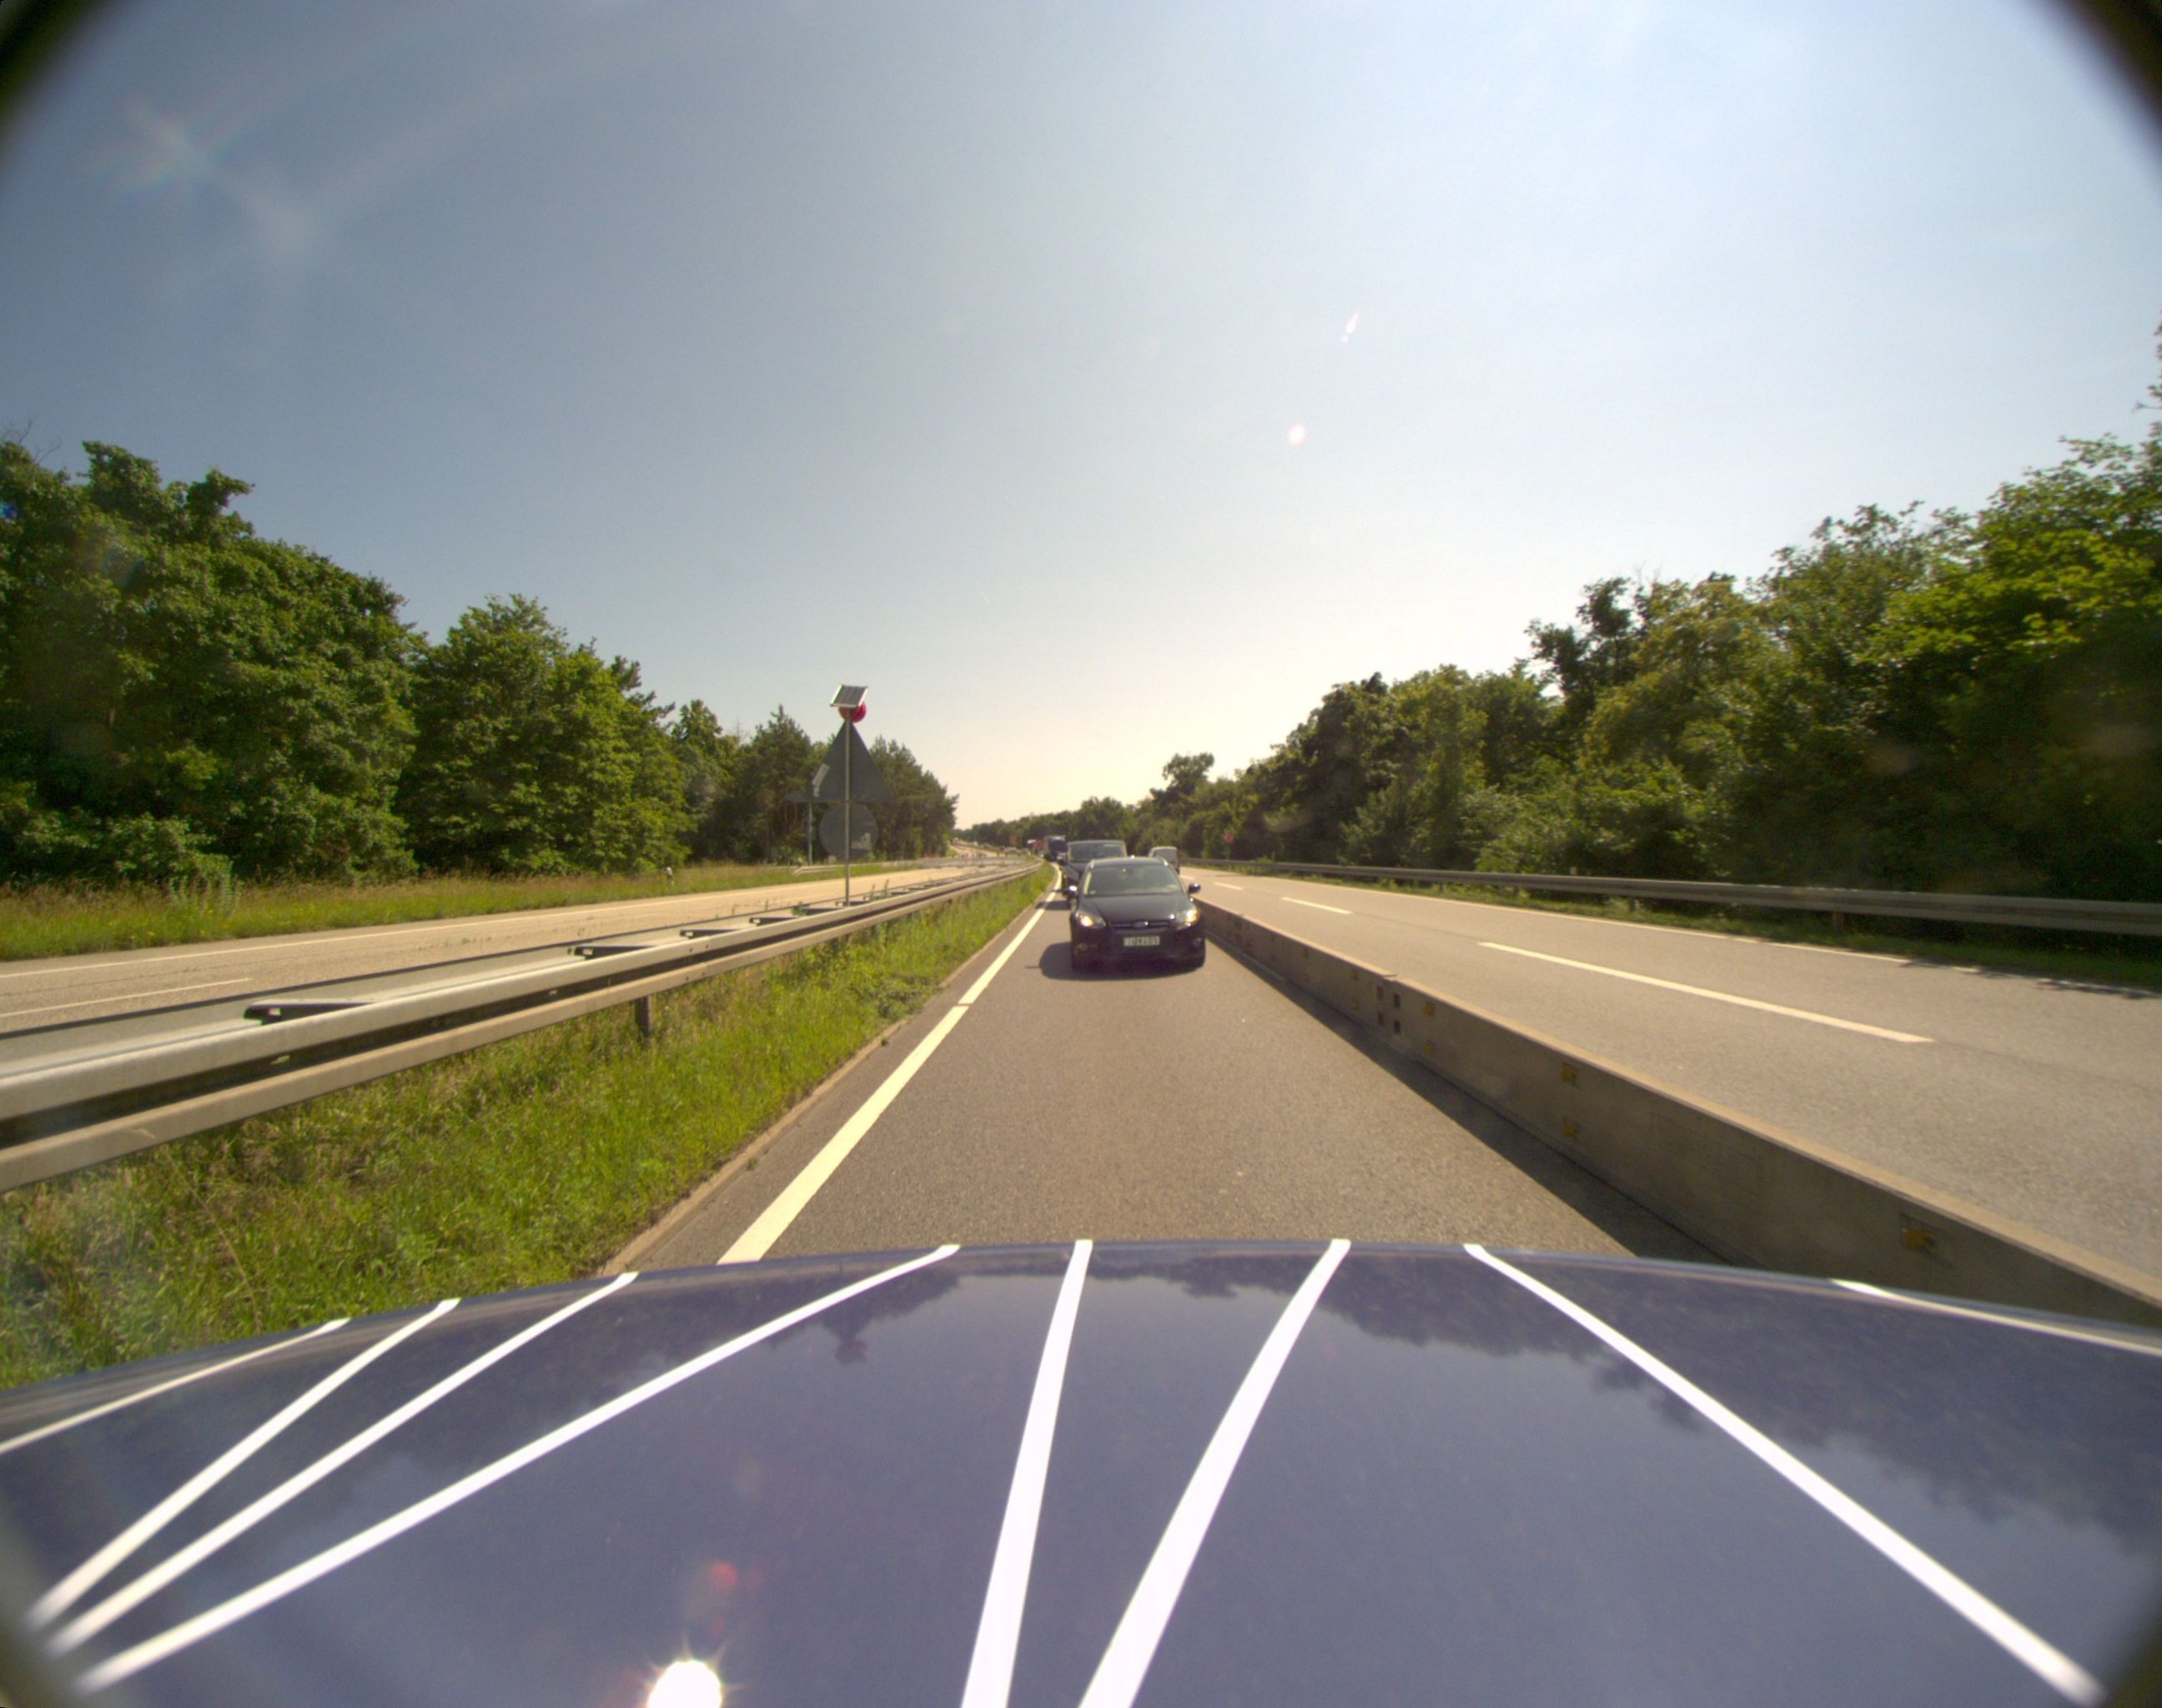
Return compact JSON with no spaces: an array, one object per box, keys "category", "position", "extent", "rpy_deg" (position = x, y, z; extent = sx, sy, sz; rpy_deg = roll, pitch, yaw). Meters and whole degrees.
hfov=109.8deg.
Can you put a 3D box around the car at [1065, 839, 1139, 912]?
[{"category":"car","position":[0.618,0.547,23.226],"extent":[1.959,1.901,4.935],"rpy_deg":[-2,1,1]}]

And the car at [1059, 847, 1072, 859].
[{"category":"car","position":[-2.239,-0.201,106.162],"extent":[1.528,1.647,3.752],"rpy_deg":[0,0,-6]}]

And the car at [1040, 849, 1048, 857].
[{"category":"car","position":[-7.542,-0.168,154.478],"extent":[1.528,1.647,3.978],"rpy_deg":[1,0,-6]}]

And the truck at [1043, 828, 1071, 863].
[{"category":"truck","position":[-3.799,-1.370,123.291],"extent":[3.829,5.267,11.246],"rpy_deg":[-1,1,1]}]

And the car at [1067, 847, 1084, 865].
[{"category":"car","position":[-0.536,0.188,71.217],"extent":[1.527,1.647,3.979],"rpy_deg":[-1,1,-2]}]

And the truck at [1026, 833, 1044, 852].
[{"category":"truck","position":[-11.223,-2.775,184.361],"extent":[3.831,4.265,11.239],"rpy_deg":[-1,1,-6]}]

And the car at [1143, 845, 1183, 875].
[{"category":"car","position":[4.999,0.353,46.984],"extent":[1.760,1.754,4.282],"rpy_deg":[-1,0,-3]}]

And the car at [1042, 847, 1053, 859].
[{"category":"car","position":[-6.341,-0.211,143.869],"extent":[1.527,1.649,3.975],"rpy_deg":[-9,5,-6]}]

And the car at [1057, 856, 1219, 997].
[{"category":"car","position":[0.684,0.858,11.383],"extent":[1.846,1.537,4.935],"rpy_deg":[-2,0,0]}]
